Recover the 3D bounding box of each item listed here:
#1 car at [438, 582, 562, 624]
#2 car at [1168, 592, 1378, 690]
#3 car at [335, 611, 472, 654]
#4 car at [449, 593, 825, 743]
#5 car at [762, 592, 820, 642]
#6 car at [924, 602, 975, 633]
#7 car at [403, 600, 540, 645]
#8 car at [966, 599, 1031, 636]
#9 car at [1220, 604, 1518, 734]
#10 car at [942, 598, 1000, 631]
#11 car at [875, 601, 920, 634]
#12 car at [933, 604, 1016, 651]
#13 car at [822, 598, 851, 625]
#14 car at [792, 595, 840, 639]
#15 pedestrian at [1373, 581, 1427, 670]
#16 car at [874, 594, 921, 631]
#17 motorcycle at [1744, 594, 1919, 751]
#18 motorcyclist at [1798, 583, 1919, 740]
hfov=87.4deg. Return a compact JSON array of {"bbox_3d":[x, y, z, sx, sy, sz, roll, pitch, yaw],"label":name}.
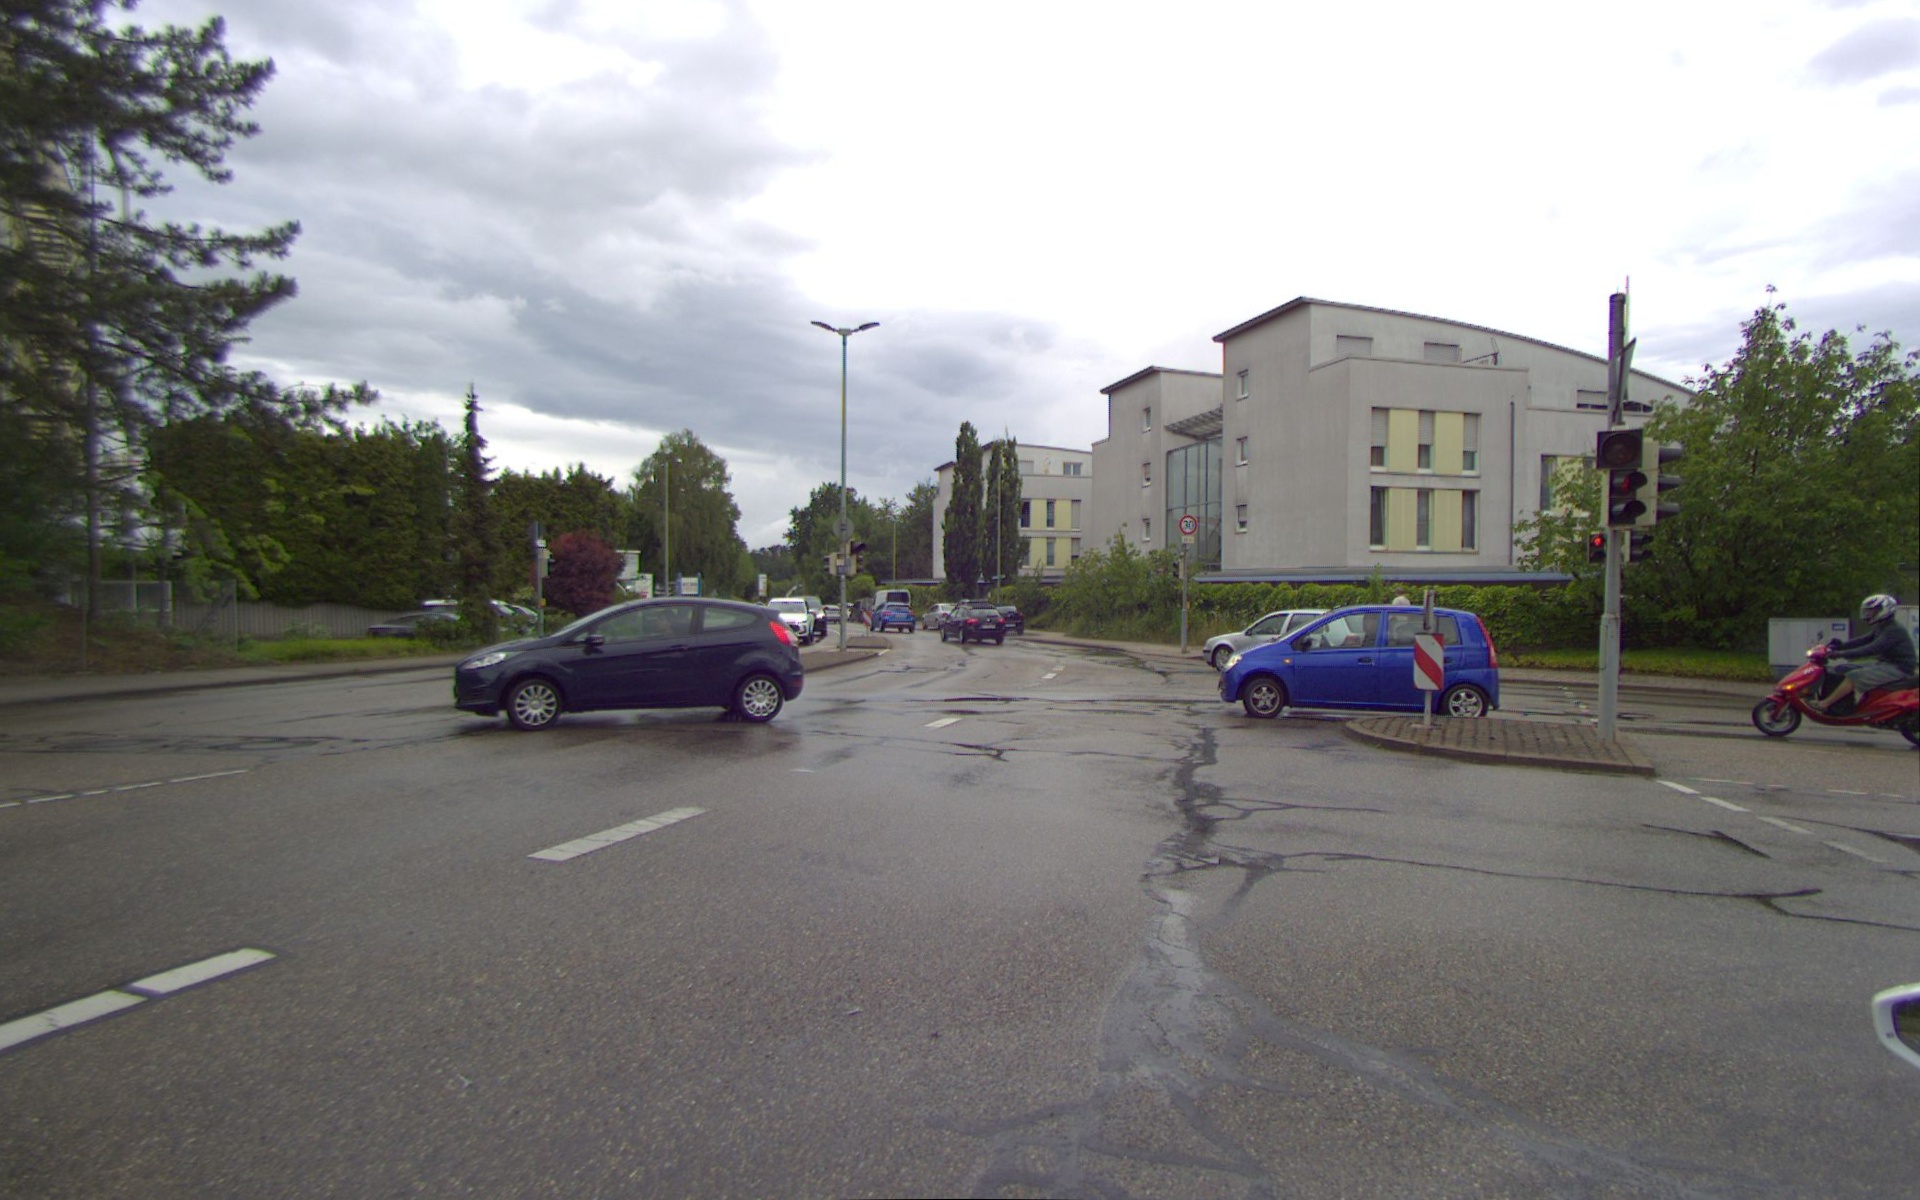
[{"bbox_3d":[-17.441,0.101,38.265,3.925,1.413,1.730,1,4,-6],"label":"car"},{"bbox_3d":[6.745,0.786,22.001,1.982,1.693,3.955,-2,5,-38],"label":"car"},{"bbox_3d":[-18.106,1.040,32.794,3.519,1.258,1.652,1,1,-4],"label":"car"},{"bbox_3d":[-3.786,0.745,12.000,3.943,1.521,1.915,2,1,-23],"label":"car"},{"bbox_3d":[-6.086,0.576,36.473,1.963,1.662,3.994,1,1,-8],"label":"car"},{"bbox_3d":[-0.615,0.952,55.786,1.966,1.576,3.988,-1,1,-14],"label":"car"},{"bbox_3d":[-17.338,0.776,35.830,3.923,1.484,1.999,1,1,-4],"label":"car"},{"bbox_3d":[1.716,0.764,46.737,1.966,1.576,3.988,-1,1,-14],"label":"car"},{"bbox_3d":[5.155,0.818,13.048,3.371,1.476,1.525,1,1,17],"label":"car"},{"bbox_3d":[0.515,0.687,51.250,1.966,1.576,3.988,-1,1,-14],"label":"car"},{"bbox_3d":[-3.269,0.854,51.928,1.964,1.576,3.993,-1,1,-9],"label":"car"},{"bbox_3d":[0.477,0.991,37.838,1.969,1.573,3.983,0,1,-18],"label":"car"},{"bbox_3d":[-9.430,0.879,76.612,1.964,1.782,3.991,0,4,-10],"label":"car"},{"bbox_3d":[-6.519,0.711,45.216,1.965,1.840,3.991,0,1,-11],"label":"car"},{"bbox_3d":[10.259,0.576,23.445,0.837,2.041,0.798,0,2,-21],"label":"pedestrian"},{"bbox_3d":[-4.491,0.929,70.875,2.555,2.445,5.245,0,-2,-12],"label":"car"},{"bbox_3d":[10.087,0.779,11.254,1.886,1.646,0.796,2,1,28],"label":"motorcycle"},{"bbox_3d":[10.118,0.655,11.233,0.922,1.646,0.771,3,1,28],"label":"motorcyclist"}]
